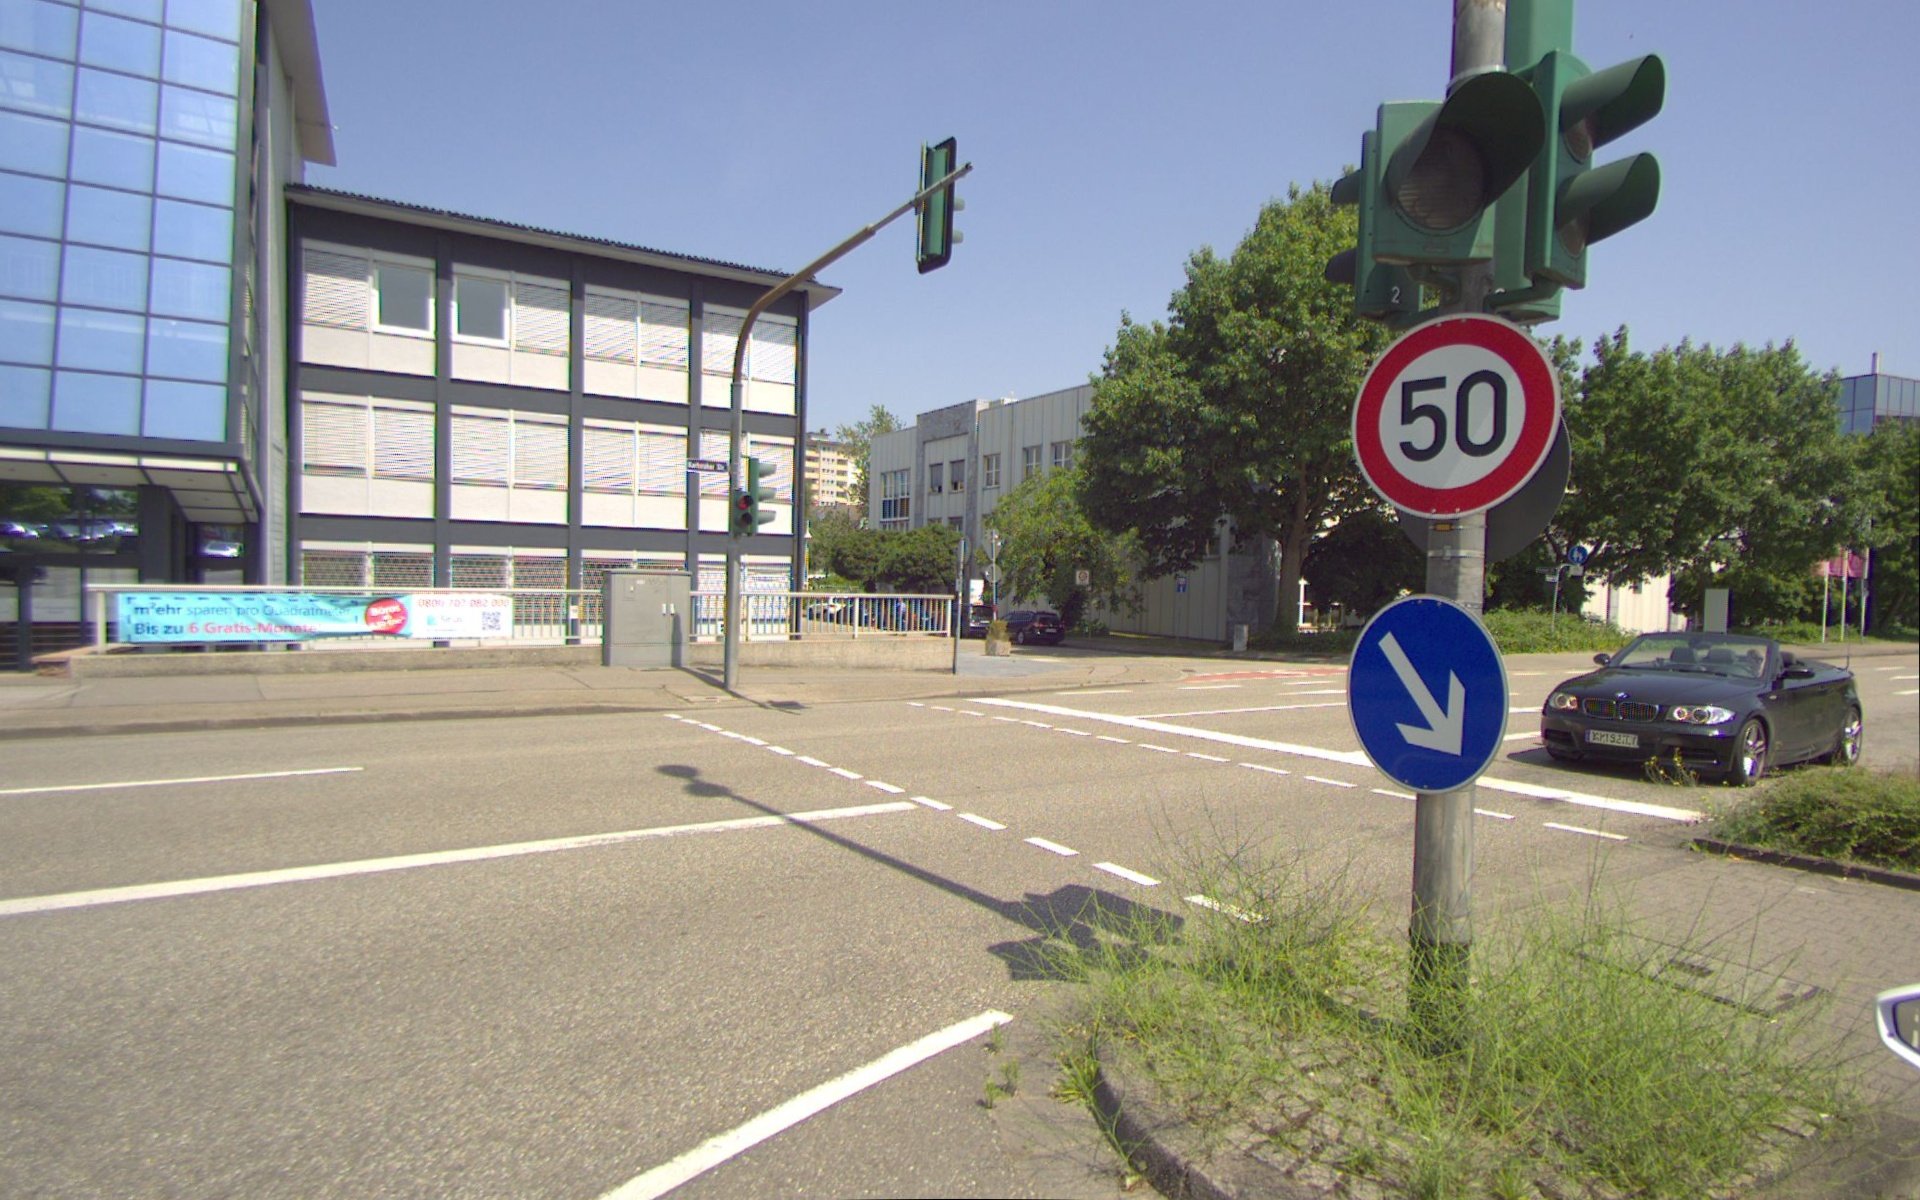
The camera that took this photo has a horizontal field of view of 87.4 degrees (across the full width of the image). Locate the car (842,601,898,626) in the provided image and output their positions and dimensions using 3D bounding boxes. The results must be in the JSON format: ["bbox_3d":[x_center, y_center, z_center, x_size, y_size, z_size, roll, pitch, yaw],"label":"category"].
[{"bbox_3d":[-5.264,0.773,58.334,1.790,1.389,3.970,1,0,-29],"label":"car"}]

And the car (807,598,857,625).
[{"bbox_3d":[-8.061,0.689,63.022,1.698,1.595,3.968,1,0,-30],"label":"car"}]

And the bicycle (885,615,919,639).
[{"bbox_3d":[-2.797,1.286,48.191,0.774,1.128,2.164,1,0,-30],"label":"bicycle"}]

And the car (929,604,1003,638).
[{"bbox_3d":[0.239,0.985,48.108,1.697,1.550,3.965,1,0,-32],"label":"car"}]

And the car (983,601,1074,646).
[{"bbox_3d":[2.843,0.964,42.728,1.898,1.617,3.965,1,2,-31],"label":"car"}]

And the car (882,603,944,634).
[{"bbox_3d":[-2.523,0.972,53.066,1.697,1.550,3.631,1,0,-32],"label":"car"}]

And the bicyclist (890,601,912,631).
[{"bbox_3d":[-2.830,0.753,48.255,0.736,1.428,0.853,1,0,-31],"label":"bicyclist"}]

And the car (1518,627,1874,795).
[{"bbox_3d":[7.616,0.981,10.277,4.108,1.341,1.718,1,0,-35],"label":"car"}]
